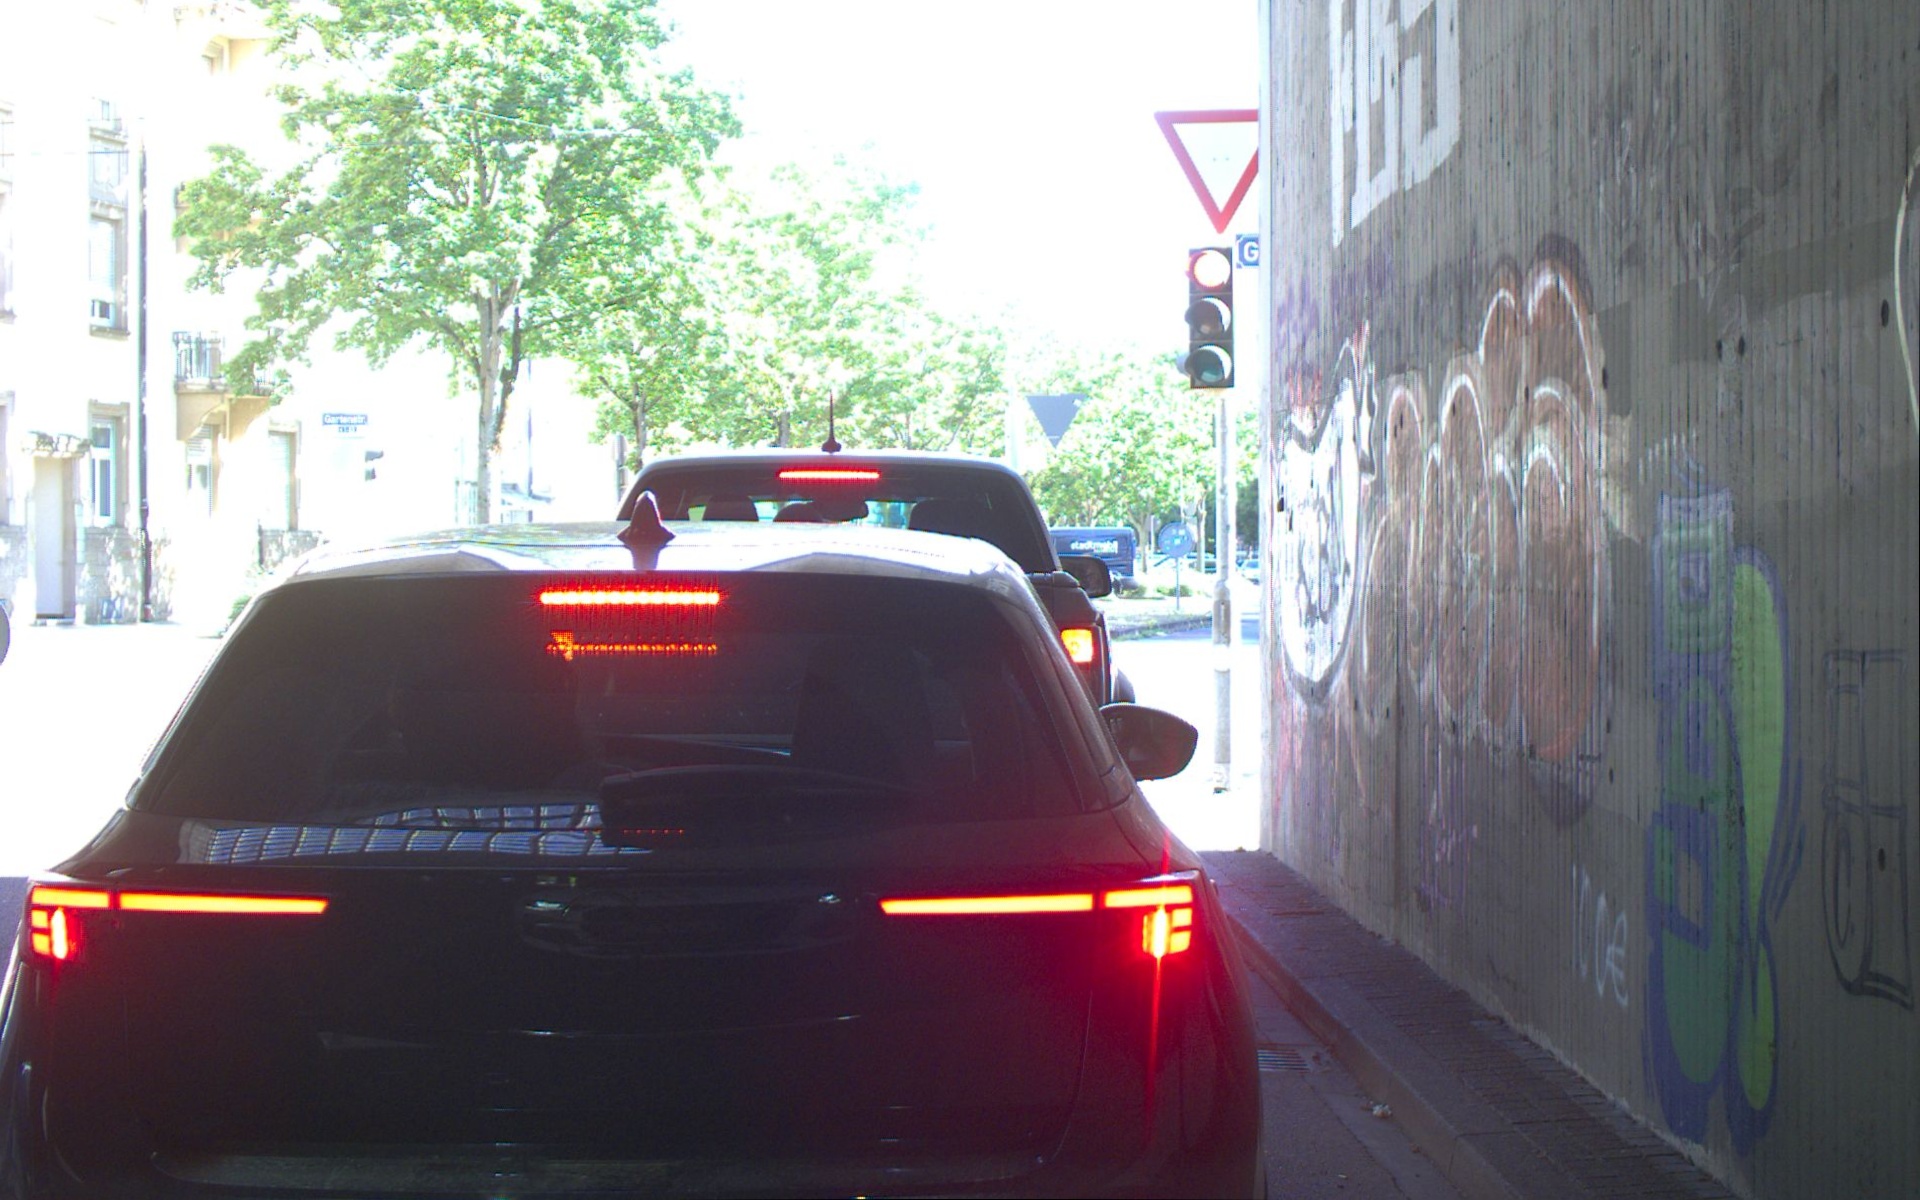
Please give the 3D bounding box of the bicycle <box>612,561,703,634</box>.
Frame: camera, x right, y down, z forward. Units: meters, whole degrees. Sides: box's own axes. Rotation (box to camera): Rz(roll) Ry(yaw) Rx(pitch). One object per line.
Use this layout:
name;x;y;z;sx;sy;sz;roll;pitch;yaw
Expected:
bicycle;-4.811;-0.045;54.795;0.737;1.126;2.025;0;1;17

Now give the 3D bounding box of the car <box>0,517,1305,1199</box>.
car;-0.481;0.618;6.150;1.753;1.493;4.000;1;1;0

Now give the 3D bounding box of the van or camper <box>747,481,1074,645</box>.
van or camper;-0.588;-0.474;43.403;3.878;2.007;2.000;0;1;7

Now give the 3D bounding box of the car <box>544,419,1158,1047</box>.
car;-0.337;0.354;12.073;1.786;1.827;3.961;1;1;0

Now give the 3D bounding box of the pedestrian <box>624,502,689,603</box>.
pedestrian;-4.822;-0.756;54.709;0.736;1.579;0.889;1;0;15

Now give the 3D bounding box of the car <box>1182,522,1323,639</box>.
car;4.353;-0.332;51.712;1.994;1.635;4.593;0;2;4
